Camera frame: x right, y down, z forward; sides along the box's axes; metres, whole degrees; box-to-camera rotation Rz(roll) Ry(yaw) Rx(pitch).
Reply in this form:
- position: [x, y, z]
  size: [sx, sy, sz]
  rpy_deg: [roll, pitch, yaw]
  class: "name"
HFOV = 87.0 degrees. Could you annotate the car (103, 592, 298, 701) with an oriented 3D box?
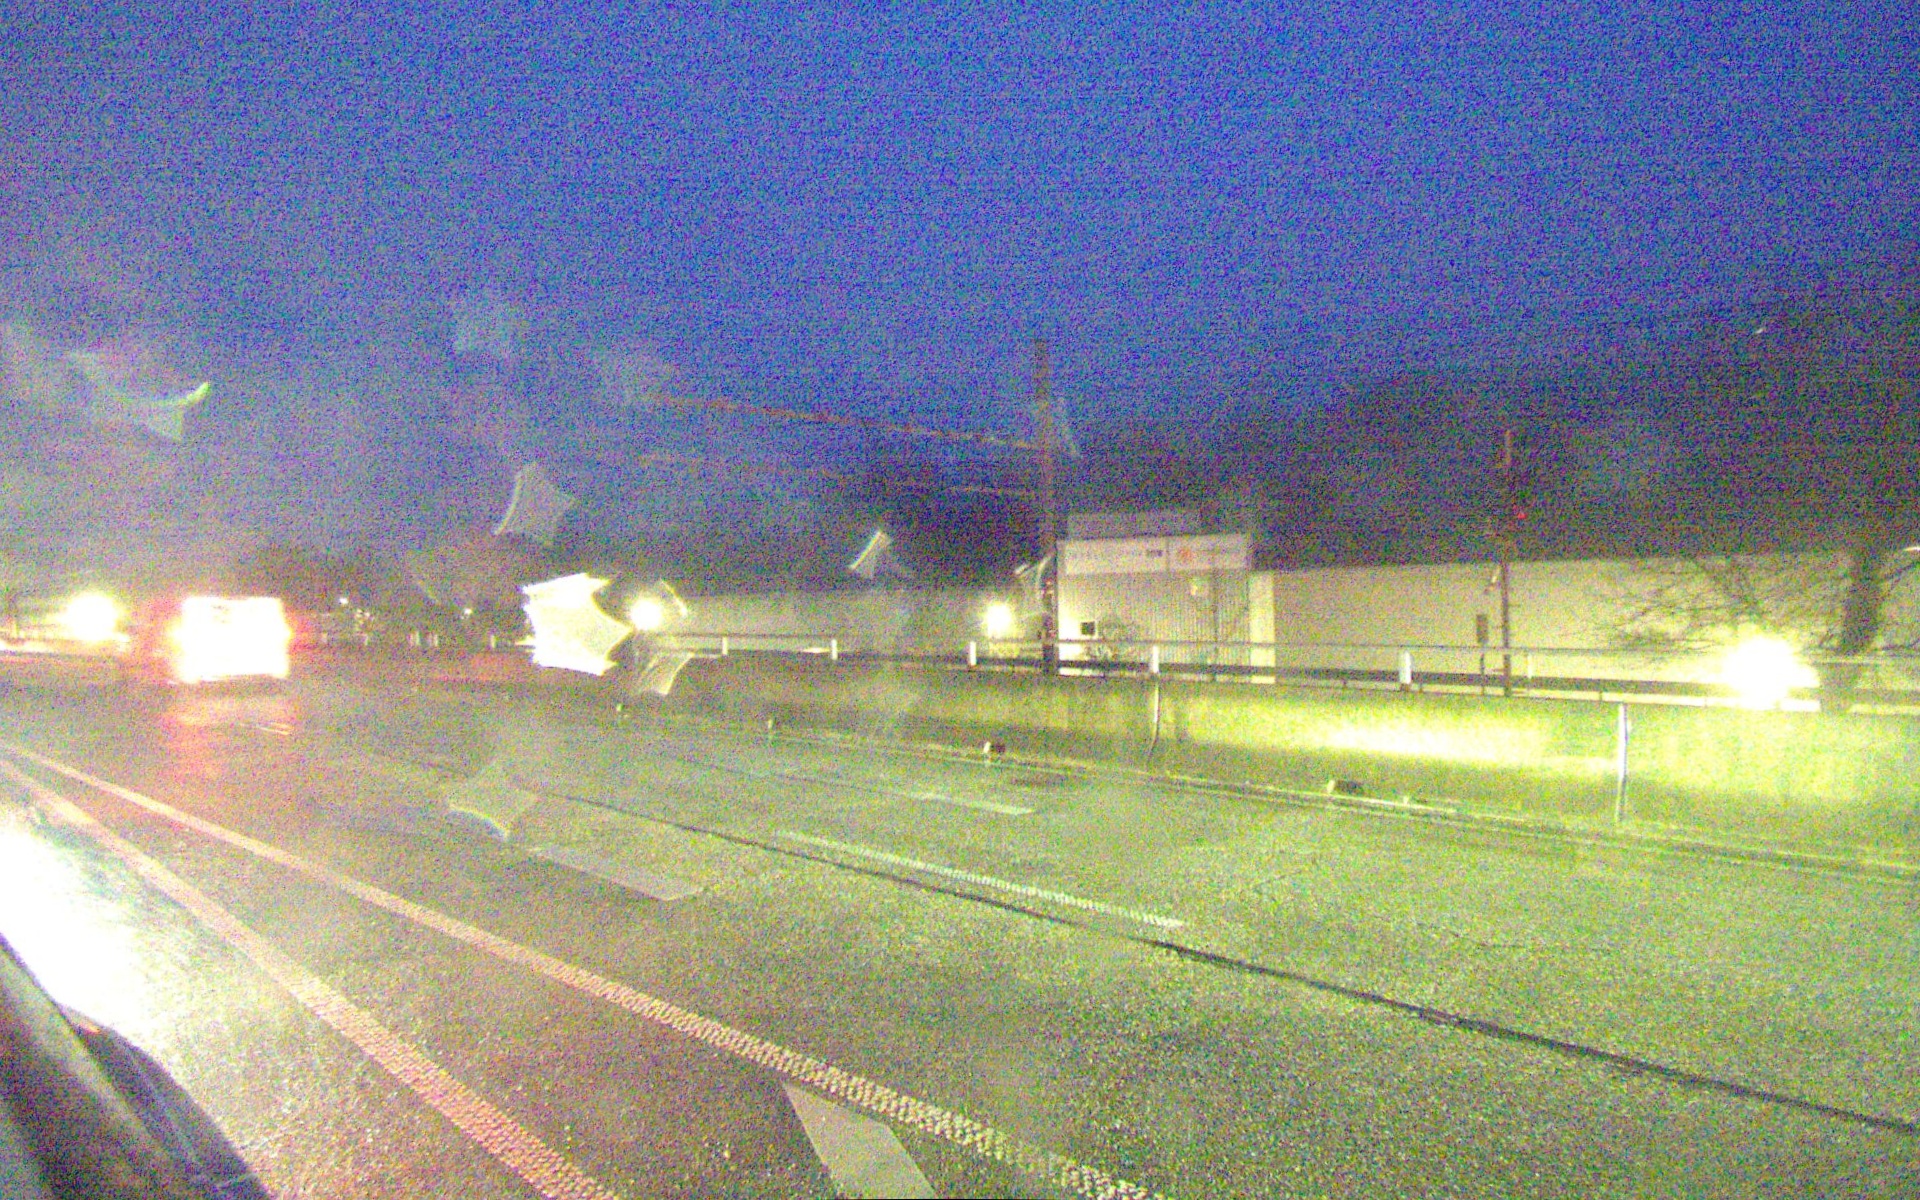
- position: [-15.838, 0.907, 21.025]
  size: [4.706, 2.029, 2.065]
  rpy_deg: [-1, -1, 37]
  class: "car"
